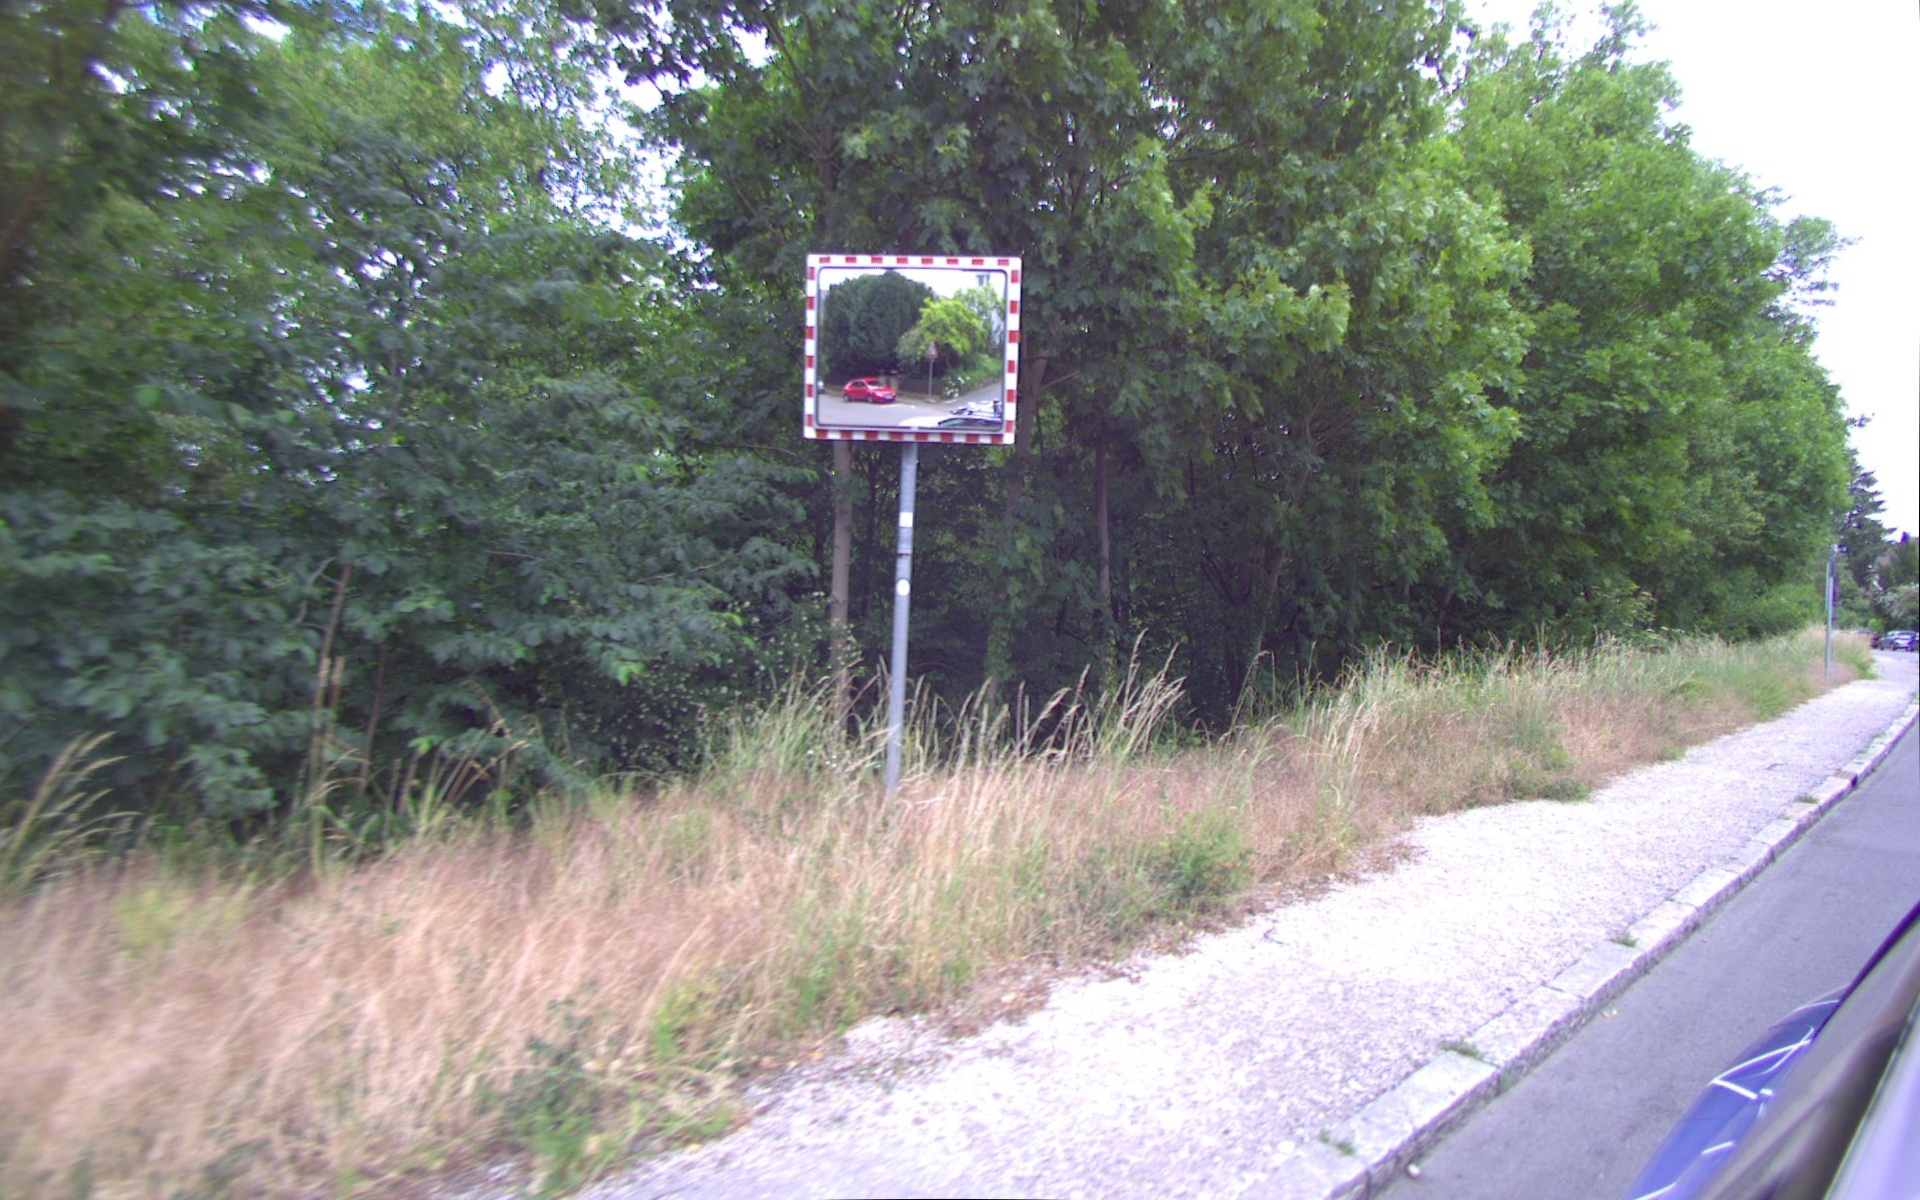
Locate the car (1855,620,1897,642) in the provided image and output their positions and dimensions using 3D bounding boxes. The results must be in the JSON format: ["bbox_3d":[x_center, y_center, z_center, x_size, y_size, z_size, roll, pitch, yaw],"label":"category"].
[{"bbox_3d":[75.303,2.530,83.267,1.987,1.710,4.650,1,0,35],"label":"car"}]

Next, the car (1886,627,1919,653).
[{"bbox_3d":[68.804,2.893,73.287,1.987,1.710,4.650,1,0,35],"label":"car"}]
